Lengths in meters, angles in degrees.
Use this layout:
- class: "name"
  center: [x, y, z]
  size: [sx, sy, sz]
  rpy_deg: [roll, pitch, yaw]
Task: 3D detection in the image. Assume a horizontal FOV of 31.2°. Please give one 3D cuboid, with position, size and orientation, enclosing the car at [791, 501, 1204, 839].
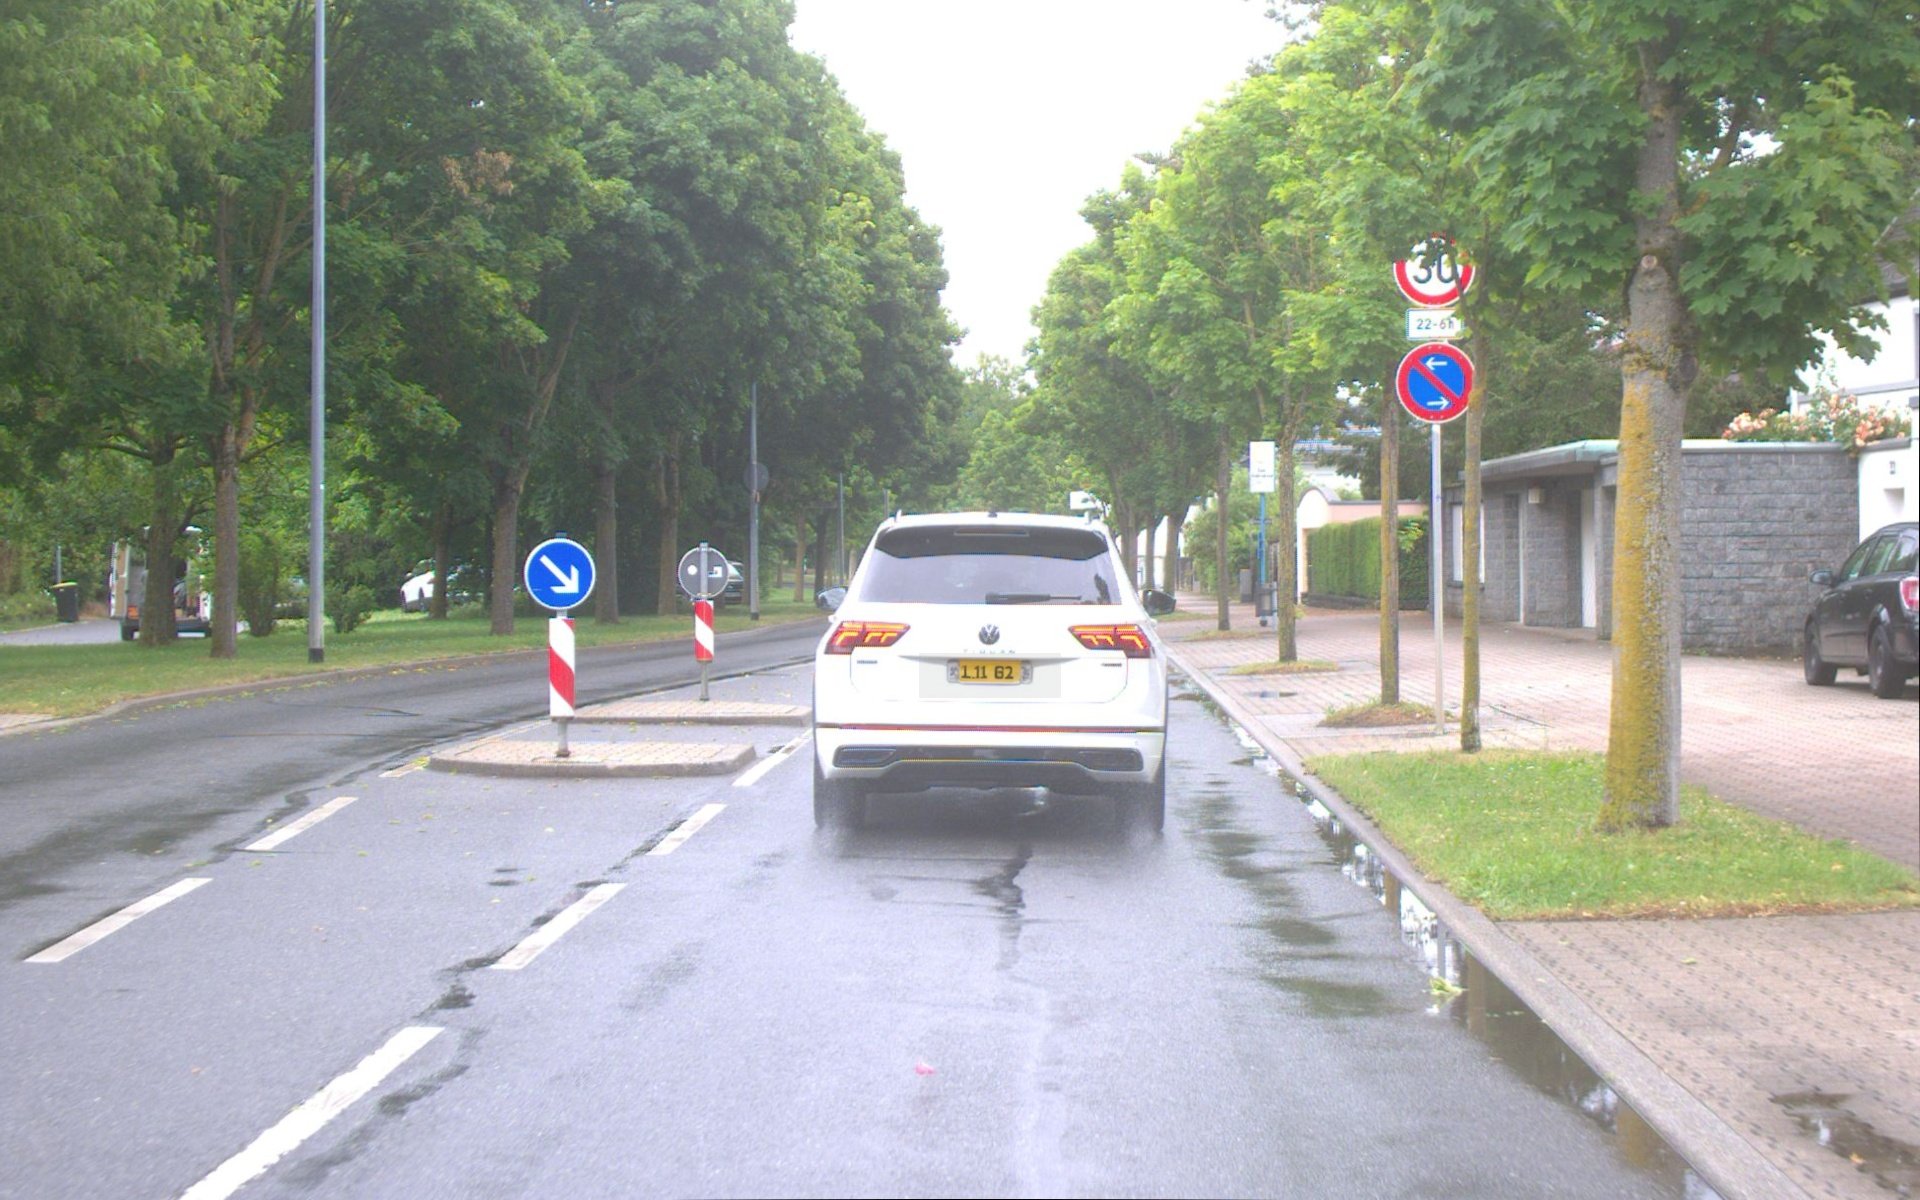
- class: "car"
  center: [0.163, 0.306, 18.763]
  size: [1.997, 1.626, 4.000]
  rpy_deg: [1, 1, -1]

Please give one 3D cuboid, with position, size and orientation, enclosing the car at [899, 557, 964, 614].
- class: "car"
  center: [-0.836, -0.457, 102.477]
  size: [1.814, 1.642, 4.000]
  rpy_deg: [1, 1, 1]

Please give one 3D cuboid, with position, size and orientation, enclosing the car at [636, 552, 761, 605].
- class: "car"
  center: [-7.446, -0.609, 97.495]
  size: [1.841, 1.477, 4.000]
  rpy_deg: [-1, 1, -33]

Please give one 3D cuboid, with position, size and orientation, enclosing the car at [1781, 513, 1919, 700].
- class: "car"
  center: [8.435, 0.005, 29.726]
  size: [1.771, 1.493, 4.544]
  rpy_deg: [-1, 1, 3]

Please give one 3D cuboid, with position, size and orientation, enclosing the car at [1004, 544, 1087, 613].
- class: "car"
  center: [1.991, -0.512, 79.967]
  size: [1.840, 1.482, 4.000]
  rpy_deg: [2, 1, 1]

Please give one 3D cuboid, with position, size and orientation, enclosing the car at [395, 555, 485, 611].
- class: "car"
  center: [-14.422, -0.479, 95.213]
  size: [1.841, 1.477, 4.001]
  rpy_deg: [-1, 1, -18]

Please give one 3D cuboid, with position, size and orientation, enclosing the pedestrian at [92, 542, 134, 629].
- class: "pedestrian"
  center: [-18.024, -0.313, 73.189]
  size: [0.709, 1.834, 0.824]
  rpy_deg: [-1, 1, -4]

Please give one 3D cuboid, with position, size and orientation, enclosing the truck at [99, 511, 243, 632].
- class: "truck"
  center: [-17.537, -0.641, 76.664]
  size: [2.284, 2.588, 5.875]
  rpy_deg: [0, 1, -5]
